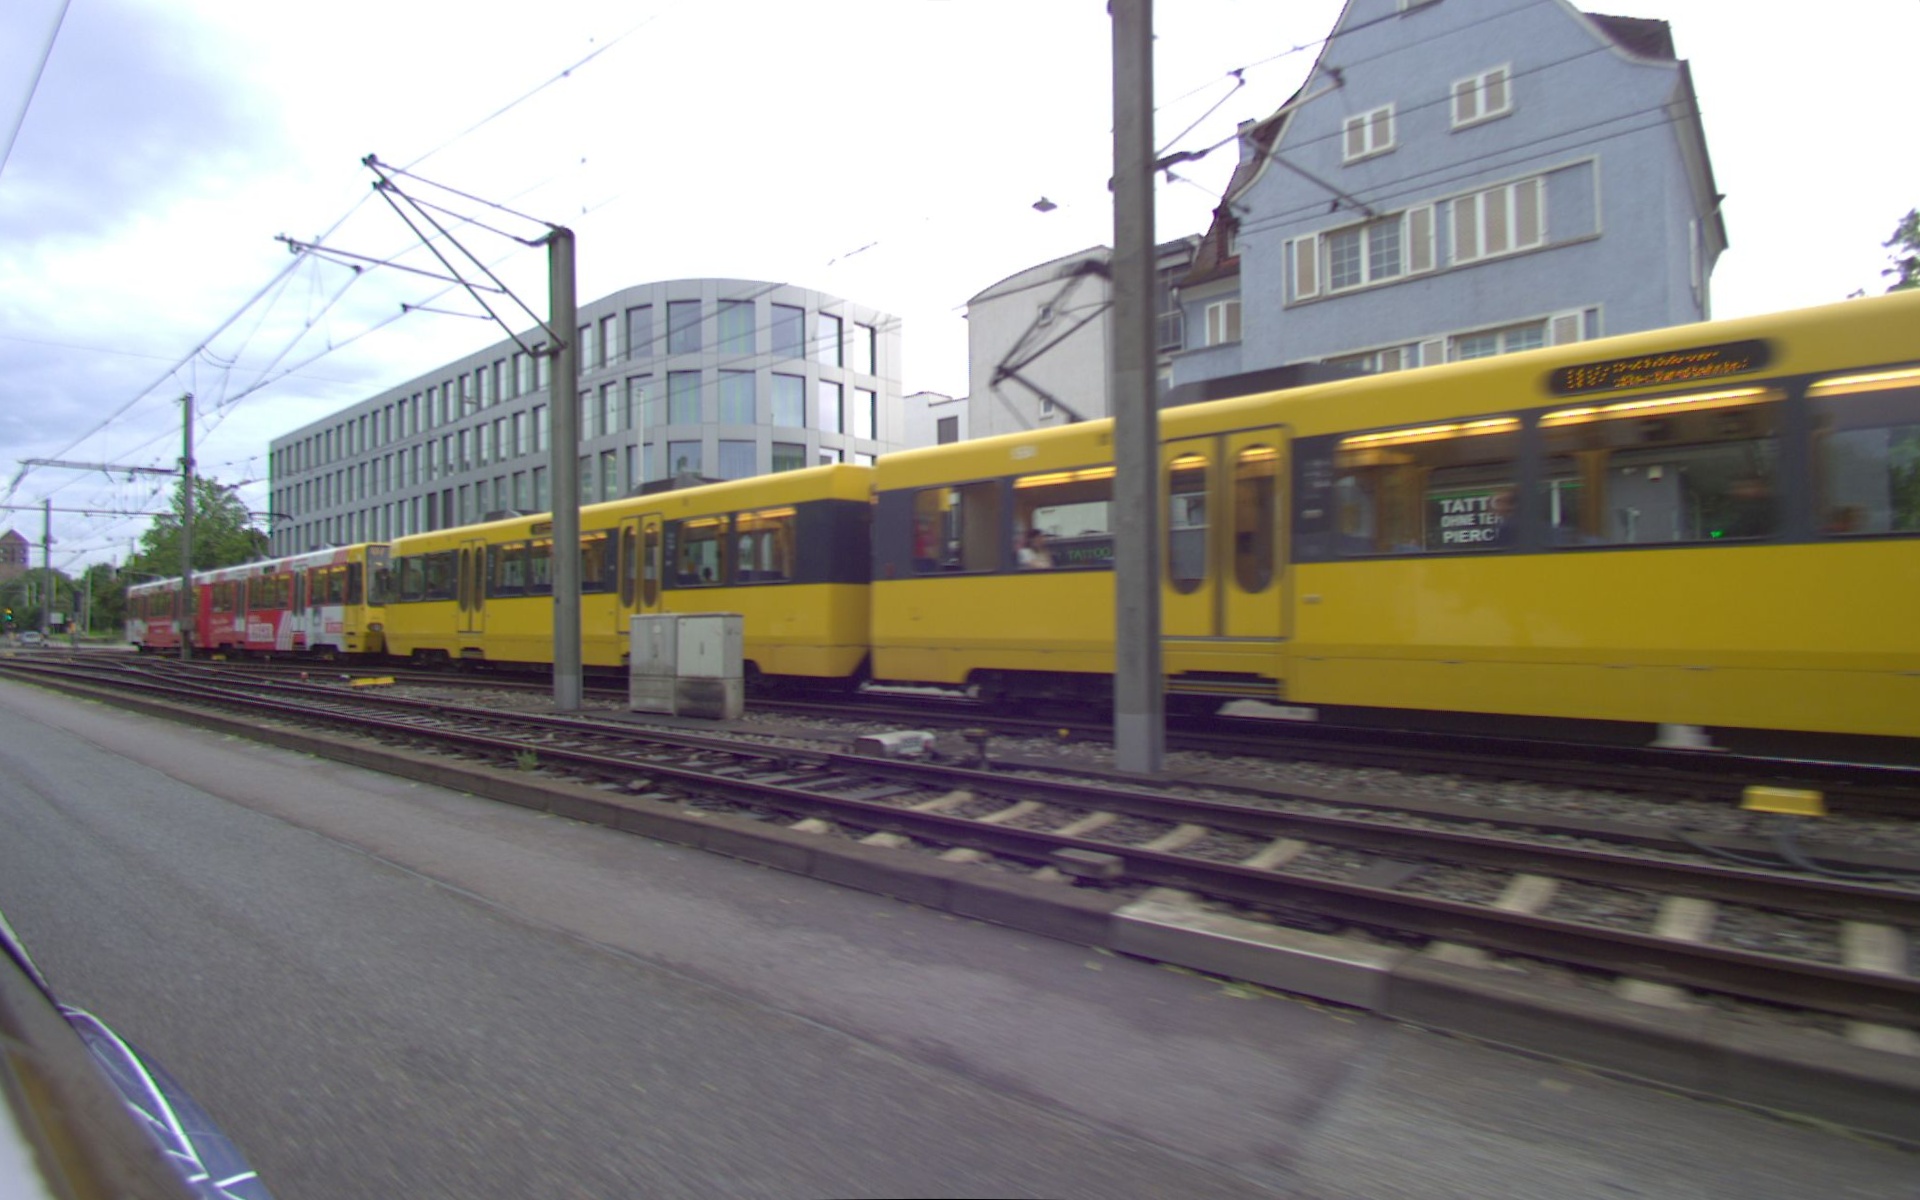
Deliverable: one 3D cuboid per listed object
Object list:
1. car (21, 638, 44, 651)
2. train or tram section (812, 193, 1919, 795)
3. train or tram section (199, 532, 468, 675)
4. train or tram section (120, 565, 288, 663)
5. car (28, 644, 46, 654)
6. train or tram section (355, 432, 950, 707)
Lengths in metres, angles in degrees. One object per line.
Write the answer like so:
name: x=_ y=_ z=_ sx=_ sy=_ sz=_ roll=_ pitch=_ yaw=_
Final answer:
car: x=-119.416 y=5.731 z=130.316 sx=3.562 sy=1.649 sz=1.788 roll=-3 pitch=-2 yaw=41
train or tram section: x=6.120 y=-0.638 z=8.450 sx=19.517 sy=3.840 sz=2.935 roll=-2 pitch=-2 yaw=43
train or tram section: x=-22.058 y=0.339 z=34.520 sx=18.612 sy=3.840 sz=2.935 roll=-2 pitch=-2 yaw=43
train or tram section: x=-35.690 y=0.804 z=47.177 sx=18.612 sy=3.840 sz=2.935 roll=-2 pitch=-2 yaw=43
car: x=-145.736 y=7.700 z=159.828 sx=3.563 sy=1.561 sz=1.752 roll=-3 pitch=-2 yaw=42
train or tram section: x=-8.180 y=-0.170 z=21.683 sx=19.096 sy=3.840 sz=2.935 roll=-2 pitch=-2 yaw=43
